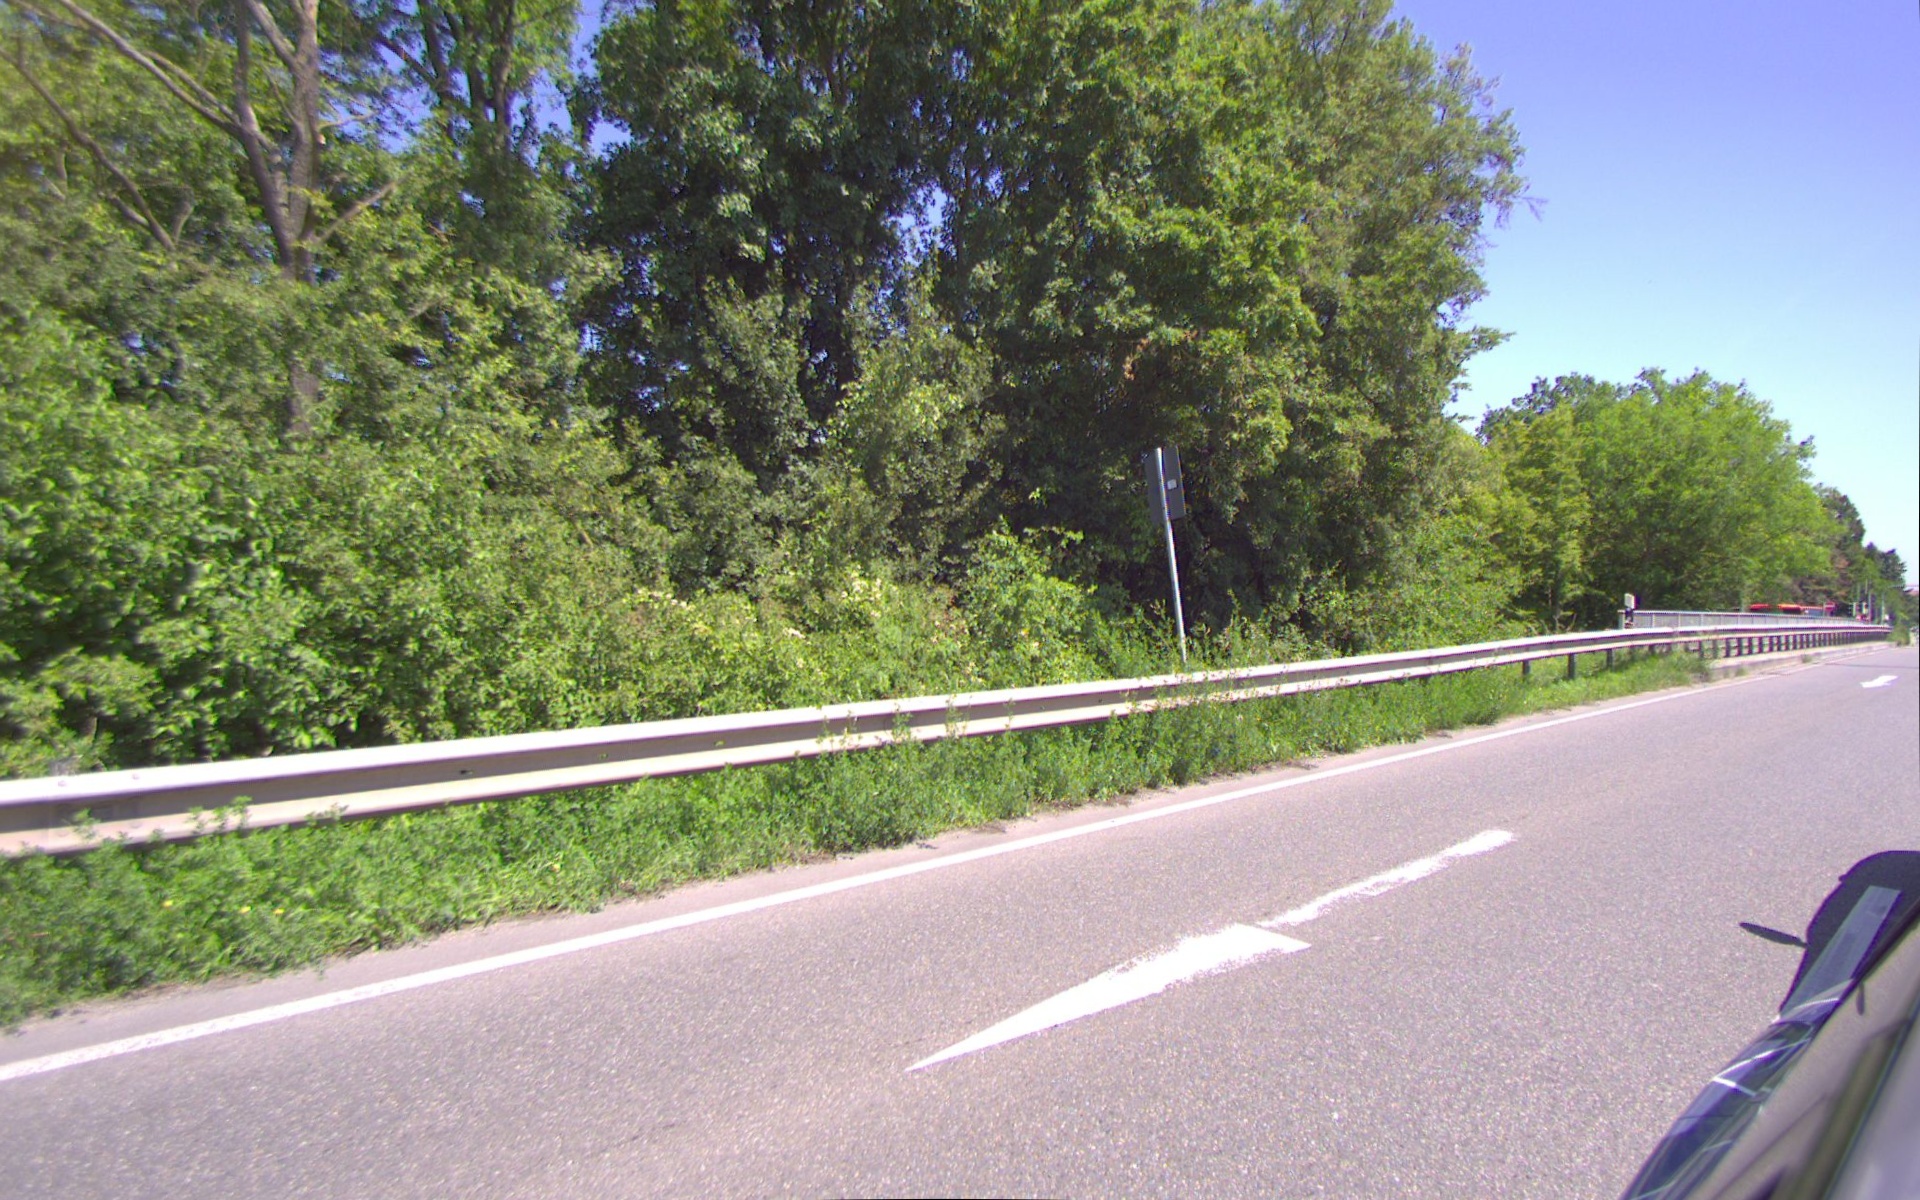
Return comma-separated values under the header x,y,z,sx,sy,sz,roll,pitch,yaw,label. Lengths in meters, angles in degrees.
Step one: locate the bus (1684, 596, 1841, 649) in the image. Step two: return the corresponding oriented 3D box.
x,y,z,sx,sy,sz,roll,pitch,yaw,label
64.772,1.700,82.306,2.813,3.708,12.432,1,1,0,bus
